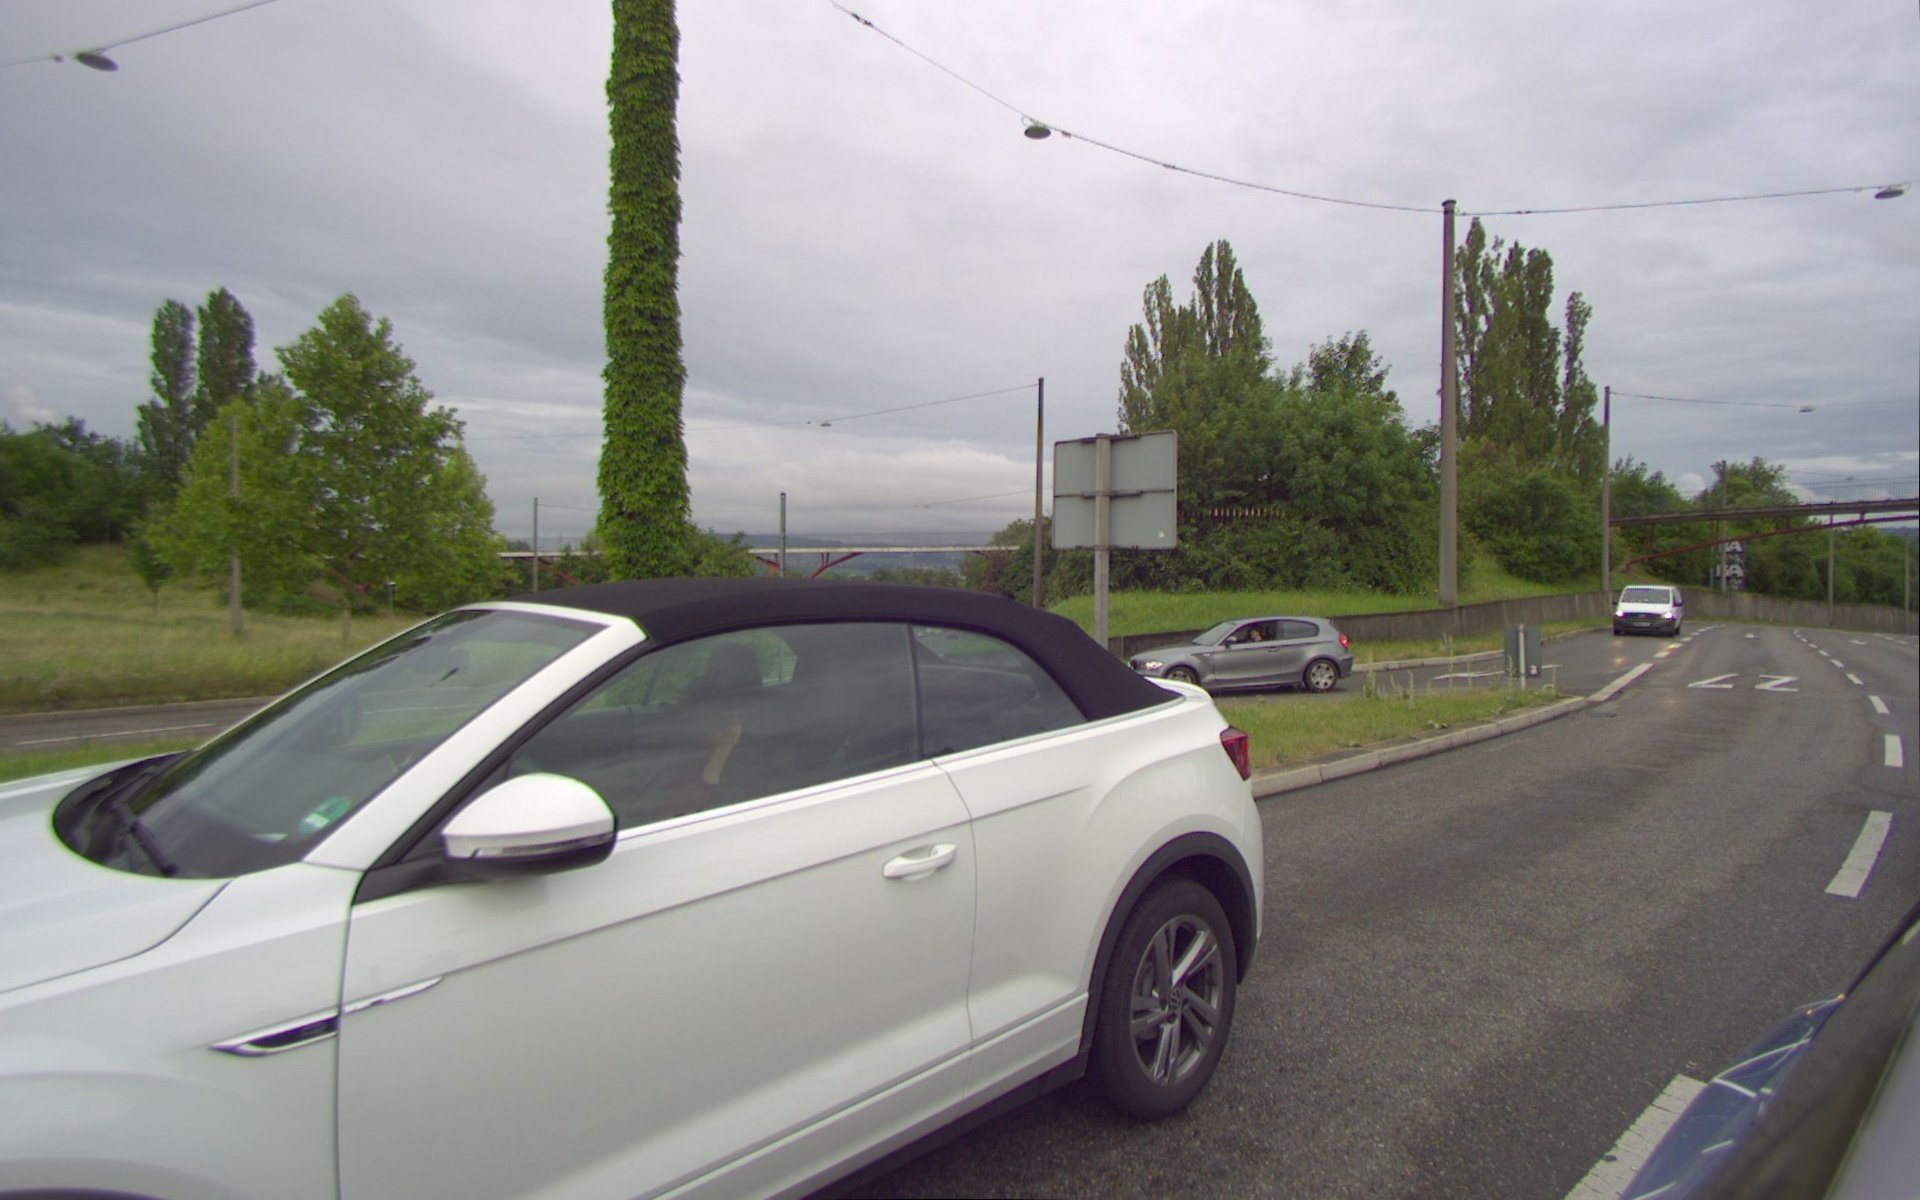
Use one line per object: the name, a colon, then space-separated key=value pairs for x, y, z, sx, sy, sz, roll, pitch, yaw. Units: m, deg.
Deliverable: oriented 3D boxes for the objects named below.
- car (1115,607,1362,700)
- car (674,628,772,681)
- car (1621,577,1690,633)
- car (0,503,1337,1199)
car: x=5.052 y=0.943 z=18.682 sx=4.001 sy=1.438 sz=1.687 roll=-2 pitch=1 yaw=-4
car: x=-7.952 y=1.781 z=34.360 sx=1.673 sy=1.494 sz=4.279 roll=0 pitch=1 yaw=11
car: x=26.339 y=0.122 z=38.264 sx=1.988 sy=1.871 sz=4.762 roll=3 pitch=3 yaw=36
car: x=-0.779 y=0.651 z=2.670 sx=4.160 sy=1.572 sz=1.714 roll=-1 pitch=1 yaw=-44
